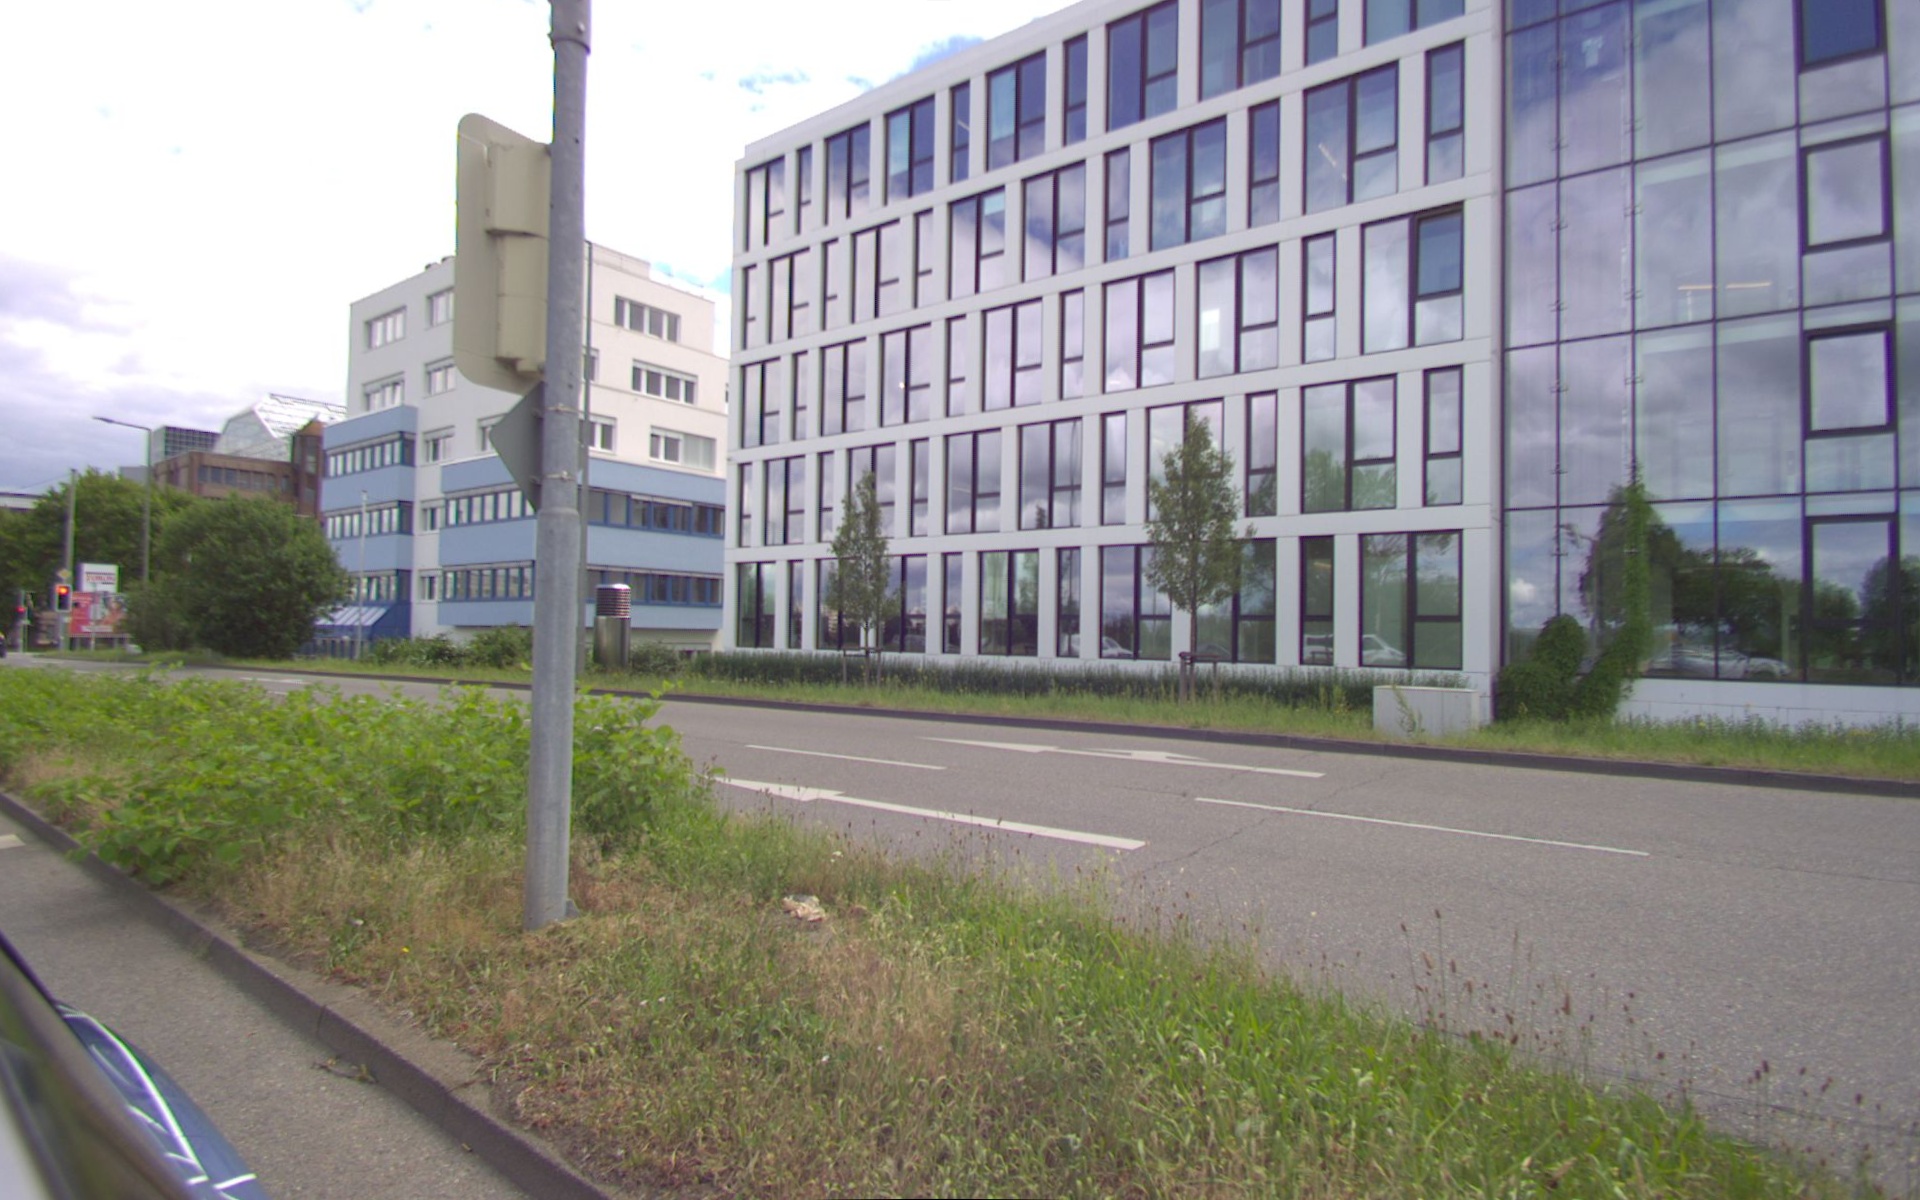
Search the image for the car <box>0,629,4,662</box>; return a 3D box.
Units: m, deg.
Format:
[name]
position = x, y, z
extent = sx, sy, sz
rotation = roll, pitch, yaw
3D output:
[car]
position = -45.806, 2.115, 47.168
extent = 3.894, 1.457, 1.734
rotation = -1, 0, 45
